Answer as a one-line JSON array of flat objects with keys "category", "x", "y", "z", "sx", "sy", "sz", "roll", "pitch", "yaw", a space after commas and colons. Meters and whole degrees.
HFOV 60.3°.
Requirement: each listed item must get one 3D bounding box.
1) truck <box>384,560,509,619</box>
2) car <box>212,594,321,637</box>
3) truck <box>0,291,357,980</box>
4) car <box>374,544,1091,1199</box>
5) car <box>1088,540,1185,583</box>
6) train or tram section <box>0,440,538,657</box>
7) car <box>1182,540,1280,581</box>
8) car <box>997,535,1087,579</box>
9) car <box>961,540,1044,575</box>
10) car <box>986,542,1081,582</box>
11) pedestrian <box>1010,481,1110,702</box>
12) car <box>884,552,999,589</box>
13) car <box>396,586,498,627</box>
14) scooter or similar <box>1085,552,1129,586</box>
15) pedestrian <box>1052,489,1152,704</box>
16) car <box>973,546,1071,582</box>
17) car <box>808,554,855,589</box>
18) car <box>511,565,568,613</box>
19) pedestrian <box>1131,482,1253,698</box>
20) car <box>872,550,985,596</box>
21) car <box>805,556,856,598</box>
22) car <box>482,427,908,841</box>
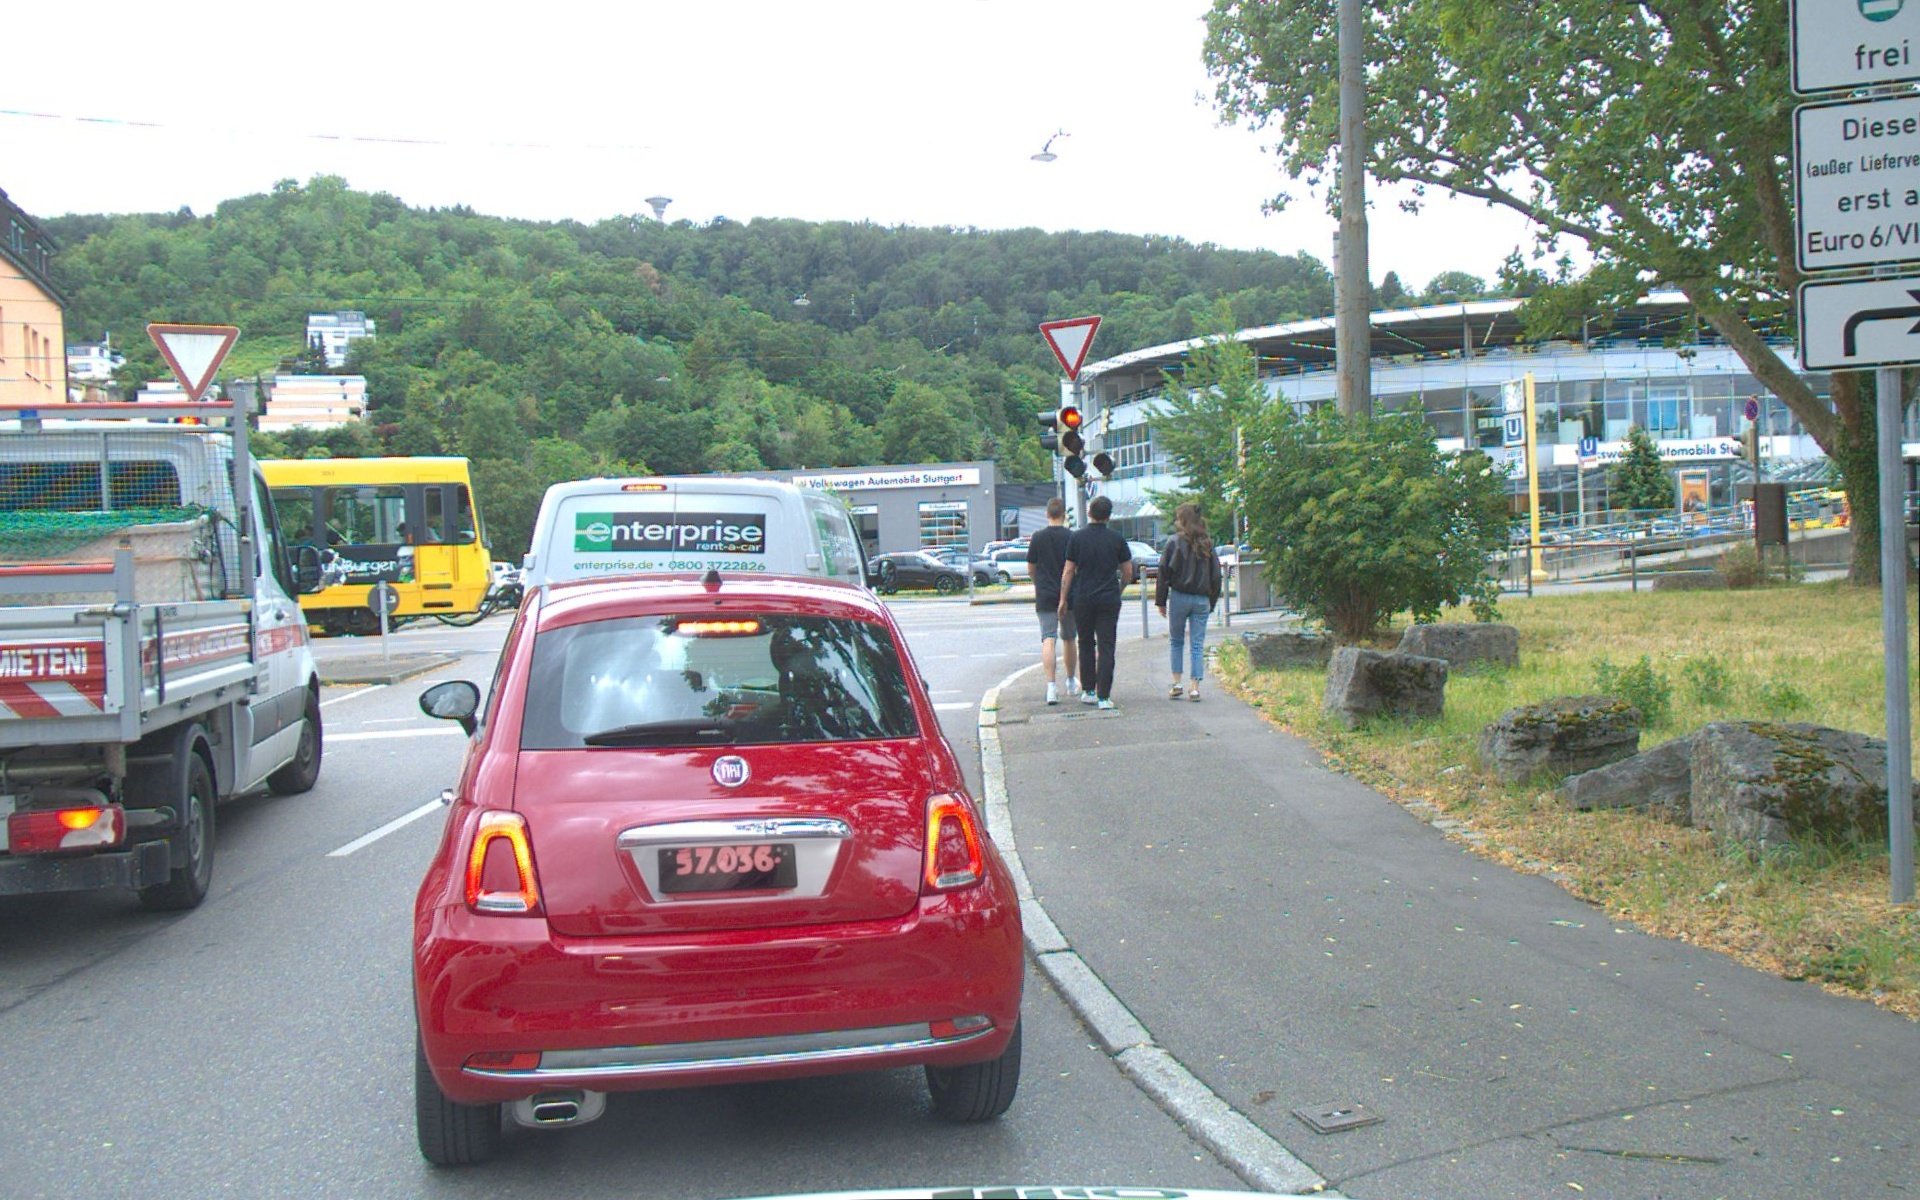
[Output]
[{"category": "truck", "x": -23.463, "y": -0.505, "z": 75.620, "sx": 5.127, "sy": 2.434, "sz": 1.981, "roll": -3, "pitch": 2, "yaw": -29}, {"category": "car", "x": -29.427, "y": 0.629, "z": 70.301, "sx": 4.146, "sy": 1.560, "sz": 1.763, "roll": -3, "pitch": 2, "yaw": -23}, {"category": "truck", "x": -4.822, "y": 0.130, "z": 8.604, "sx": 2.381, "sy": 2.439, "sz": 6.008, "roll": -3, "pitch": 1, "yaw": -14}, {"category": "car", "x": -0.824, "y": 0.604, "z": 5.510, "sx": 1.610, "sy": 1.482, "sz": 3.421, "roll": -2, "pitch": 1, "yaw": -11}, {"category": "car", "x": 6.927, "y": -1.506, "z": 65.289, "sx": 1.754, "sy": 1.526, "sz": 3.837, "roll": -3, "pitch": 2, "yaw": -33}, {"category": "train or tram section", "x": -17.818, "y": -0.861, "z": 31.326, "sx": 18.813, "sy": 3.729, "sz": 3.262, "roll": -3, "pitch": 2, "yaw": -18}, {"category": "car", "x": 10.950, "y": -1.573, "z": 67.029, "sx": 1.753, "sy": 1.526, "sz": 3.979, "roll": -3, "pitch": 2, "yaw": -31}, {"category": "car", "x": 4.408, "y": -2.322, "z": 89.220, "sx": 4.696, "sy": 2.194, "sz": 2.234, "roll": -2, "pitch": 1, "yaw": 2}, {"category": "car", "x": 2.478, "y": -2.461, "z": 96.274, "sx": 4.696, "sy": 1.834, "sz": 1.776, "roll": -2, "pitch": 1, "yaw": 2}, {"category": "car", "x": 3.757, "y": -1.931, "z": 84.688, "sx": 4.696, "sy": 1.834, "sz": 1.776, "roll": -2, "pitch": 1, "yaw": 2}, {"category": "pedestrian", "x": 0.897, "y": -0.082, "z": 14.691, "sx": 0.678, "sy": 1.889, "sz": 0.789, "roll": -2, "pitch": 1, "yaw": 13}, {"category": "car", "x": -0.775, "y": -1.260, "z": 70.444, "sx": 4.572, "sy": 1.351, "sz": 1.777, "roll": -2, "pitch": 2, "yaw": 13}, {"category": "car", "x": -22.484, "y": 0.246, "z": 72.639, "sx": 4.135, "sy": 1.560, "sz": 1.768, "roll": -3, "pitch": 2, "yaw": -16}, {"category": "scooter or similar", "x": 5.547, "y": -1.181, "z": 62.394, "sx": 1.633, "sy": 1.198, "sz": 0.468, "roll": -2, "pitch": 1, "yaw": 6}, {"category": "pedestrian", "x": 1.212, "y": -0.037, "z": 14.011, "sx": 0.678, "sy": 1.744, "sz": 0.789, "roll": -2, "pitch": 1, "yaw": 12}, {"category": "car", "x": 3.058, "y": -1.774, "z": 81.132, "sx": 4.696, "sy": 1.560, "sz": 1.776, "roll": -2, "pitch": 1, "yaw": 2}, {"category": "car", "x": -6.093, "y": -1.370, "z": 78.698, "sx": 1.733, "sy": 1.560, "sz": 4.092, "roll": -2, "pitch": 2, "yaw": 2}, {"category": "car", "x": -17.292, "y": -0.494, "z": 68.144, "sx": 1.826, "sy": 1.849, "sz": 4.393, "roll": -3, "pitch": 2, "yaw": -9}, {"category": "pedestrian", "x": 1.976, "y": -0.094, "z": 14.150, "sx": 0.683, "sy": 1.770, "sz": 0.784, "roll": -3, "pitch": 1, "yaw": -19}, {"category": "car", "x": -1.141, "y": -1.016, "z": 61.373, "sx": 3.787, "sy": 1.526, "sz": 1.777, "roll": -2, "pitch": 2, "yaw": 16}, {"category": "car", "x": -6.131, "y": -1.109, "z": 78.751, "sx": 1.952, "sy": 1.847, "sz": 4.001, "roll": -2, "pitch": 2, "yaw": 1}, {"category": "car", "x": -1.505, "y": 0.125, "z": 11.317, "sx": 1.948, "sy": 2.143, "sz": 4.763, "roll": -3, "pitch": 1, "yaw": 1}]
